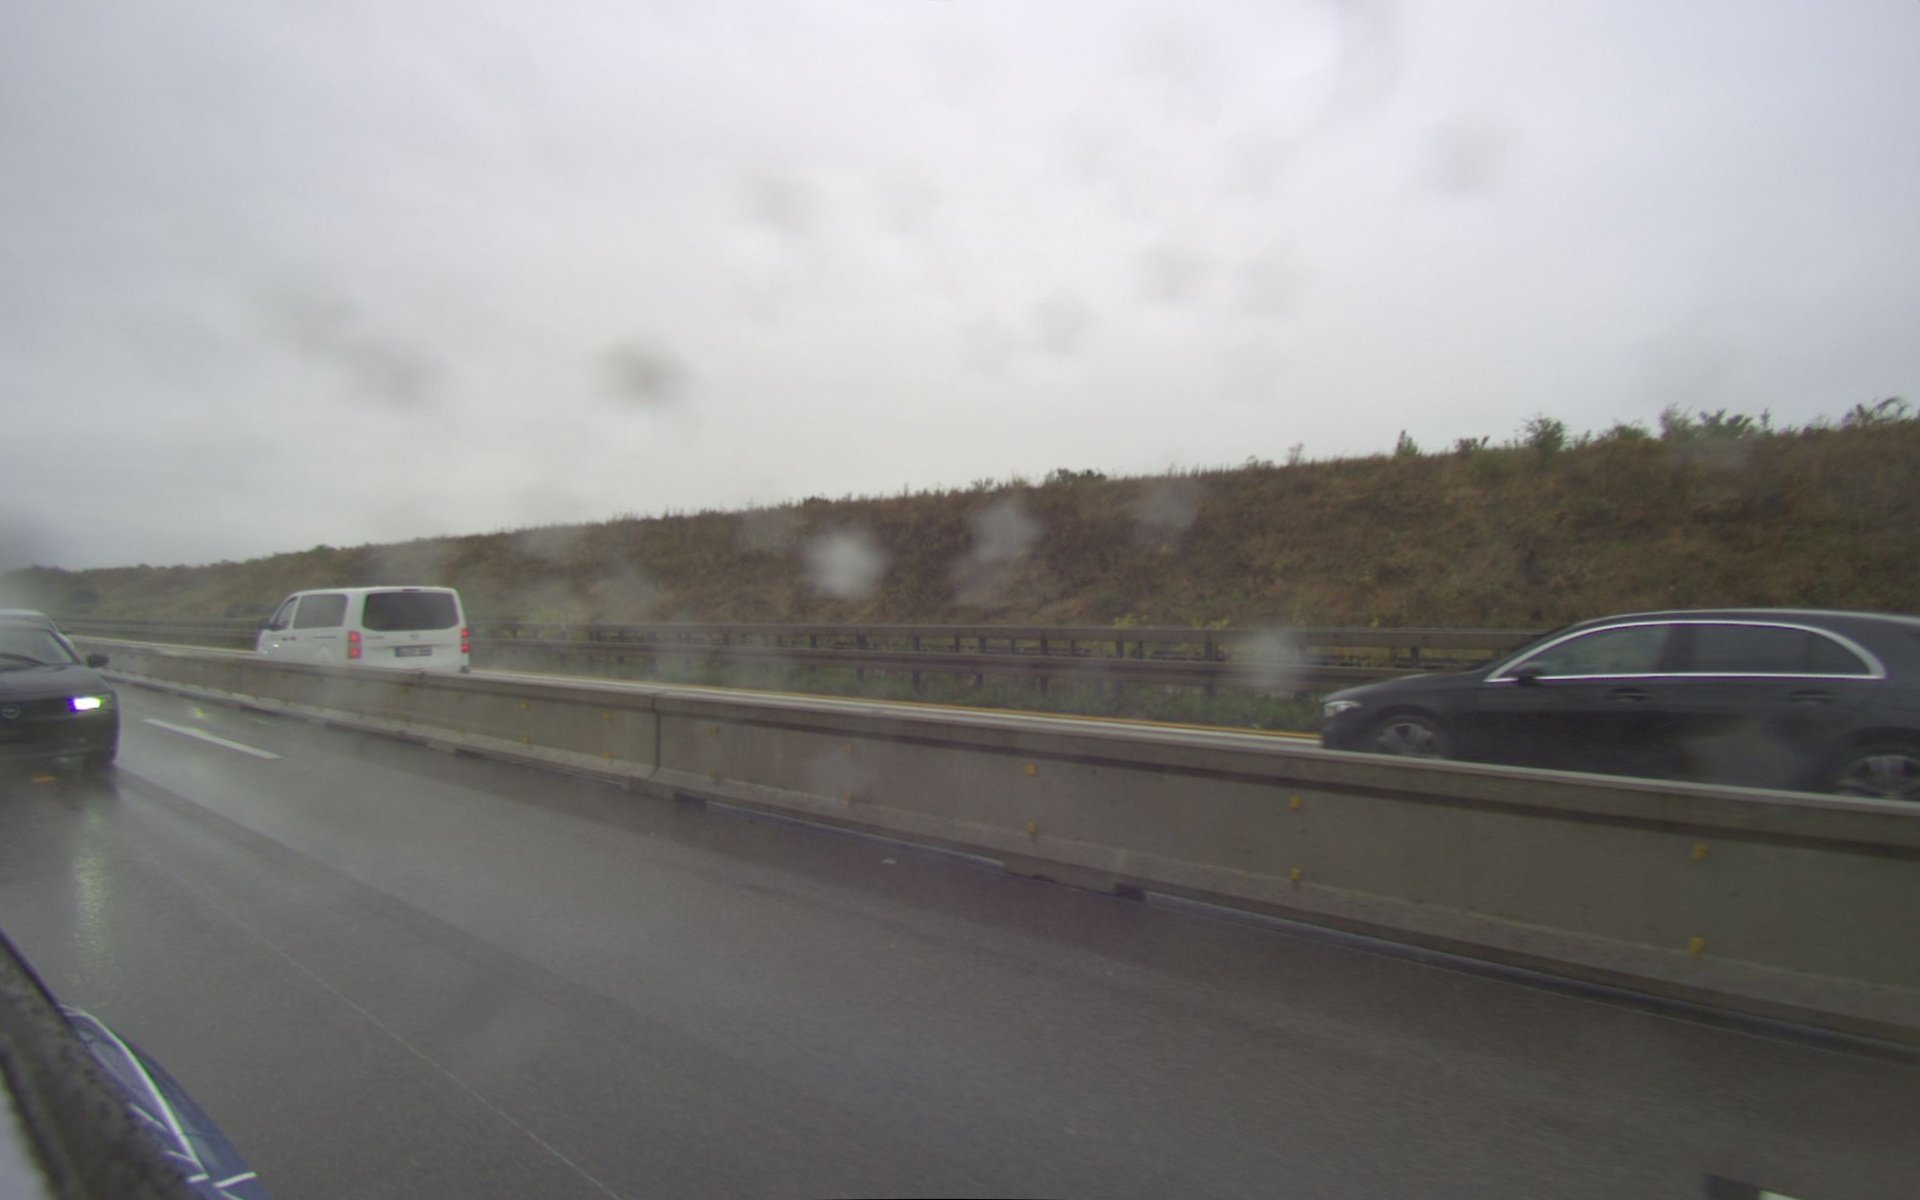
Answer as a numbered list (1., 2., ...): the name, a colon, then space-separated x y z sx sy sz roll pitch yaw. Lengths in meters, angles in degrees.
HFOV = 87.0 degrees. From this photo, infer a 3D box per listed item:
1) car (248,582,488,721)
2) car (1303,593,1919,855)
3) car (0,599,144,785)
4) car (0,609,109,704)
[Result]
1. car: -9.949 0.753 16.828 4.932 1.984 1.925 -1 0 40
2. car: 5.058 0.704 7.140 4.695 1.471 1.743 -1 0 41
3. car: -9.807 0.774 9.964 4.793 1.539 1.918 0 -3 41
4. car: -18.378 1.037 19.837 3.998 1.693 1.946 0 -3 41
